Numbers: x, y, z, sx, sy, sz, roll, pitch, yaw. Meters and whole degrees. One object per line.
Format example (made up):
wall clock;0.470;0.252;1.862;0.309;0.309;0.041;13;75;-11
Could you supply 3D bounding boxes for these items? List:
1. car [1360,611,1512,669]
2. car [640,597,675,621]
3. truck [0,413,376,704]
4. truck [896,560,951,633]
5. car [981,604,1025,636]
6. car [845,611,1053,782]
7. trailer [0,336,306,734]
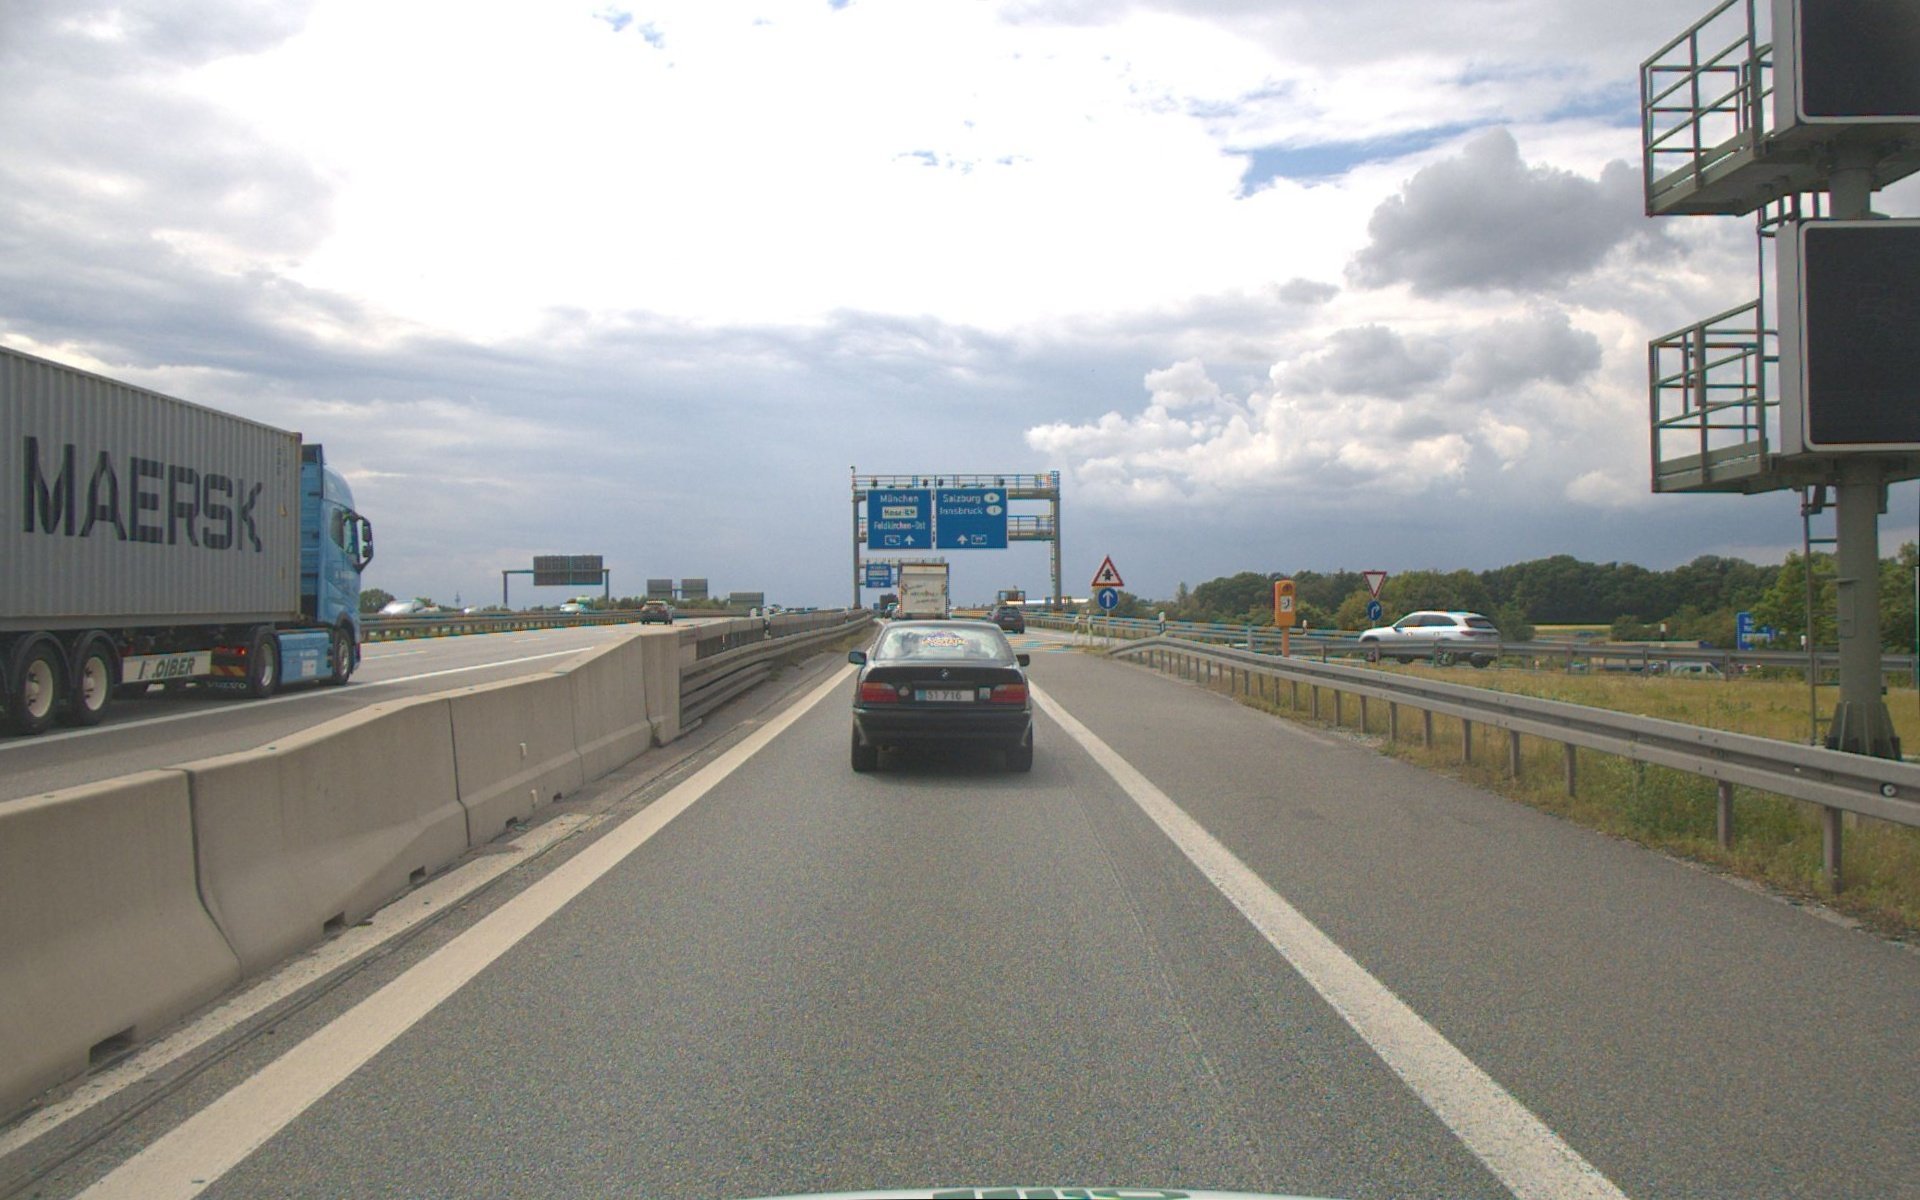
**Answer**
car;14.555;1.204;50.733;1.924;1.714;4.148;2;-2;-40
car;-20.590;0.609;112.862;1.855;1.625;4.414;0;0;-4
truck;-11.831;-0.559;26.104;3.182;3.980;6.605;1;0;-3
truck;-1.691;-0.153;74.686;2.356;3.144;6.367;0;0;-2
car;2.219;1.029;86.364;1.954;1.579;3.997;1;0;-4
car;-0.096;0.827;15.980;1.746;1.402;4.136;0;0;0
trailer;-11.430;-0.661;19.543;3.172;3.993;12.370;1;0;-4
